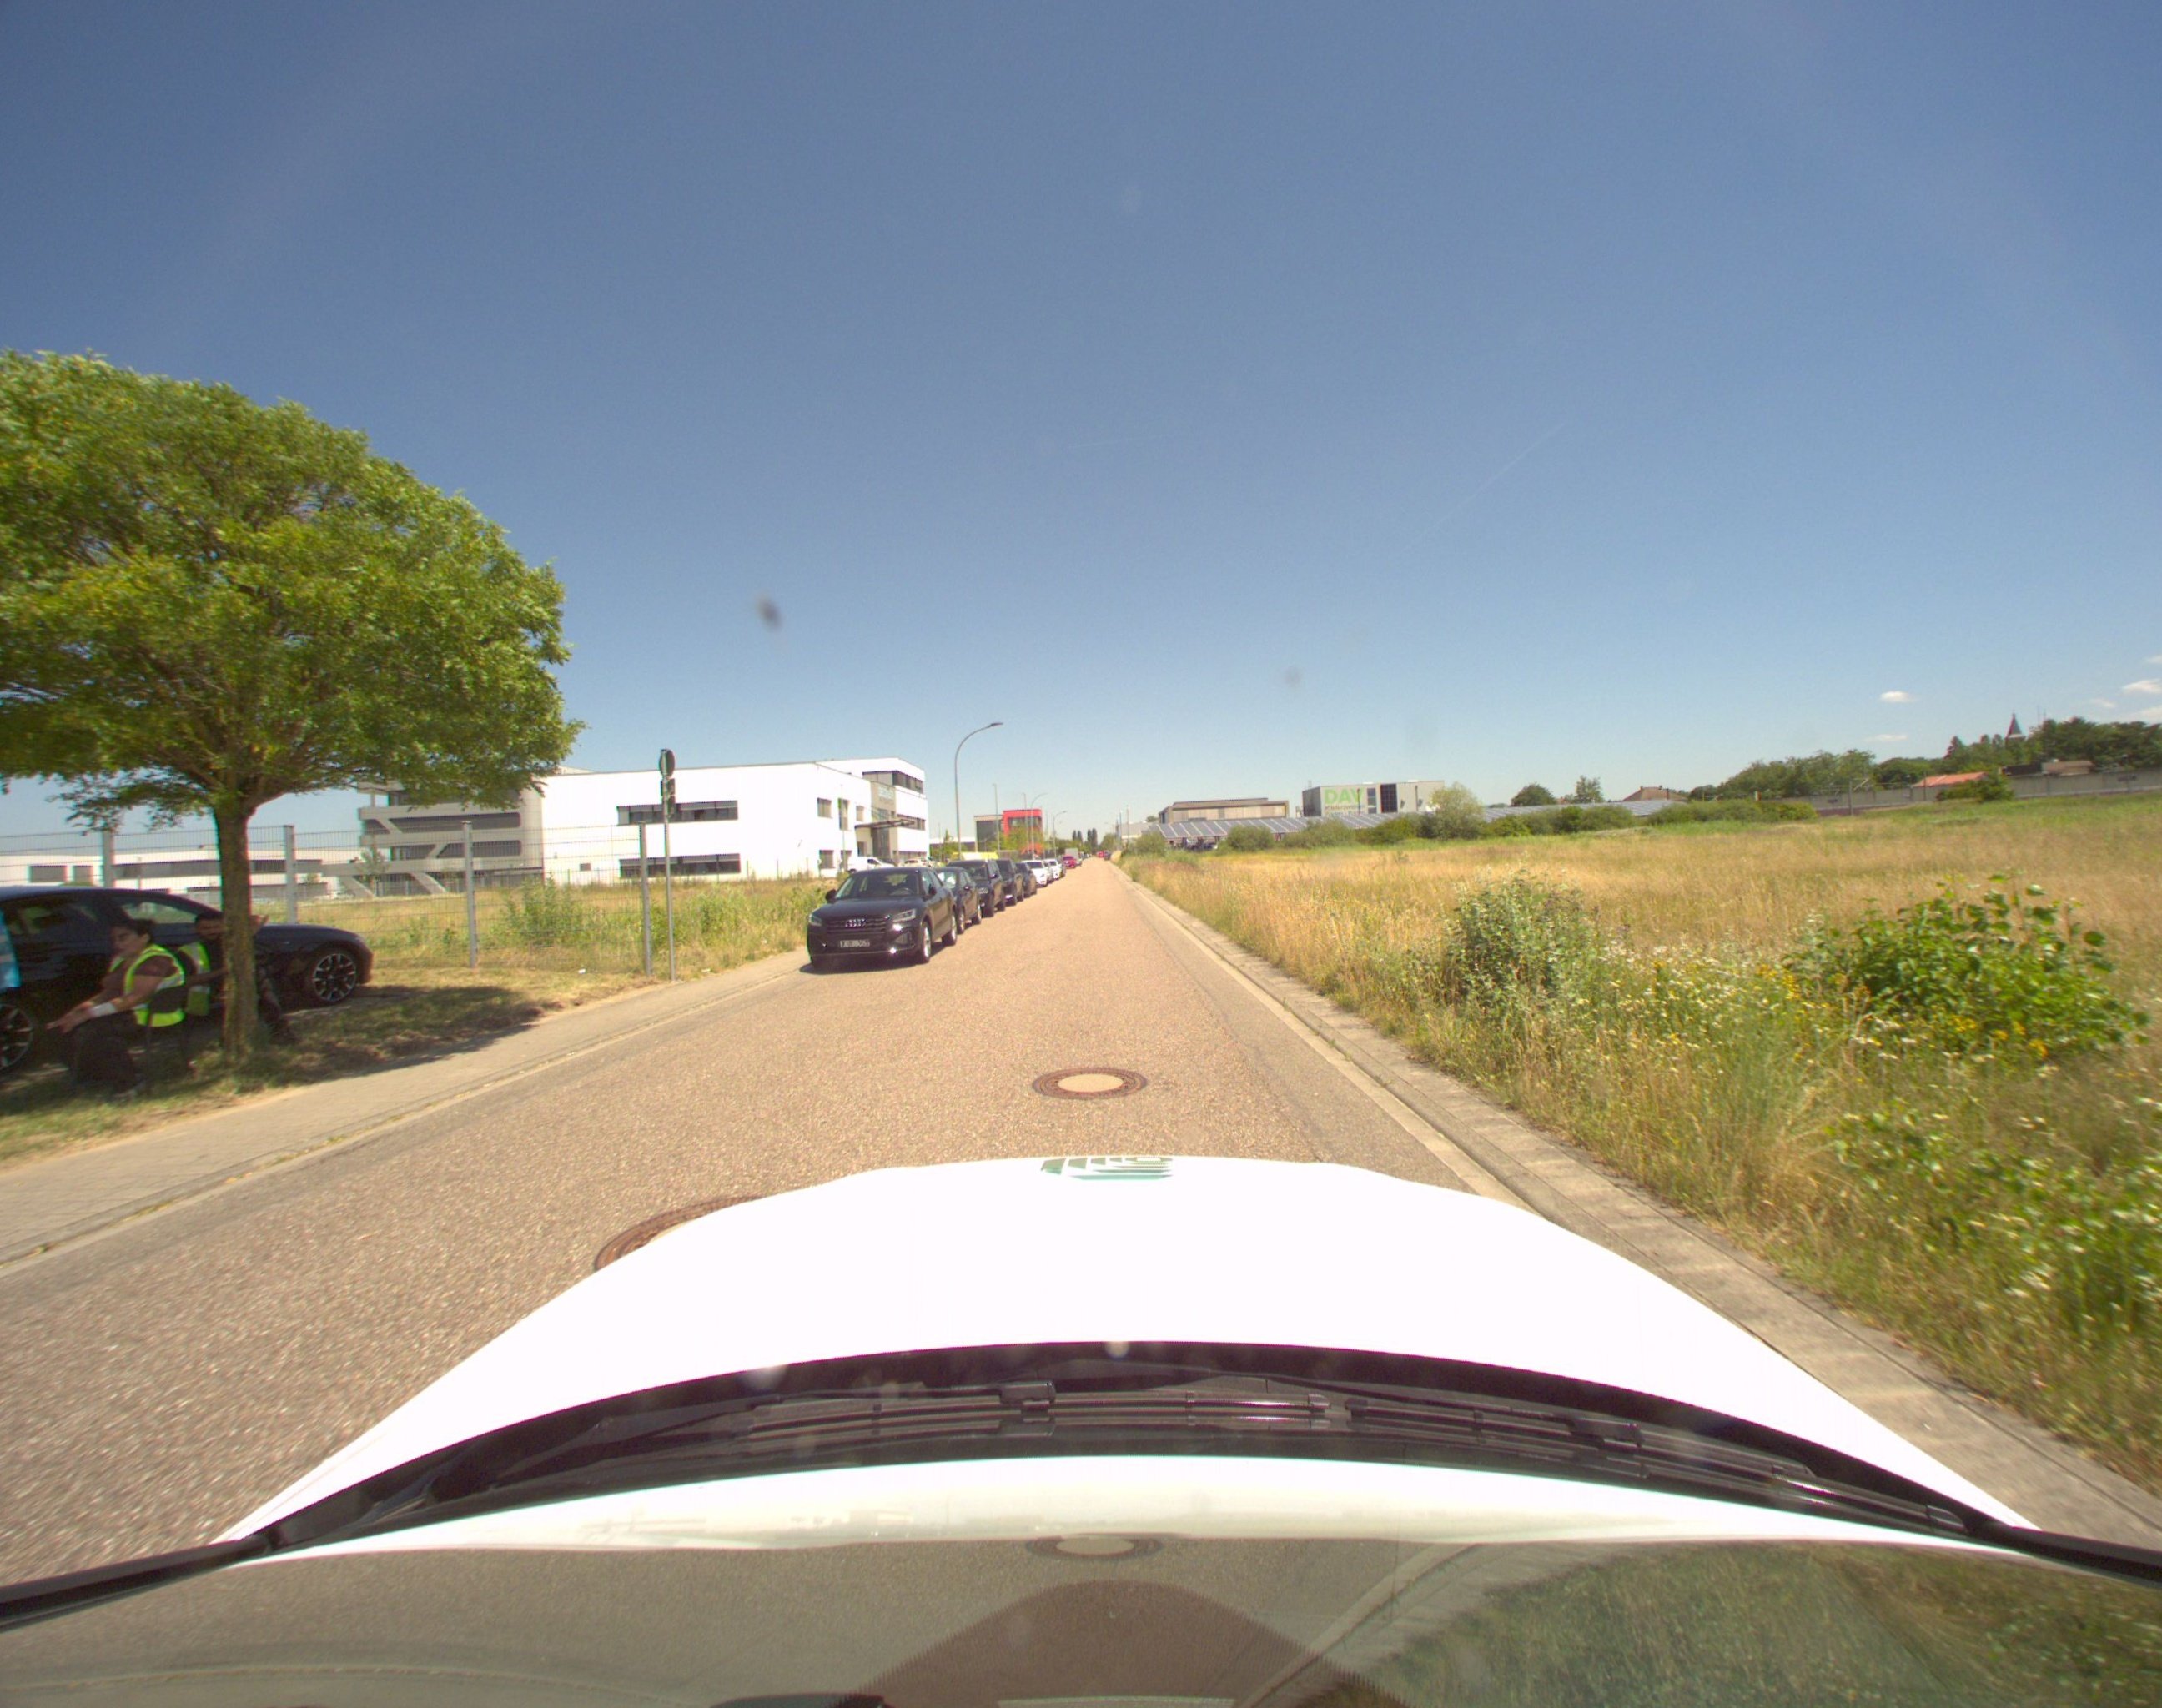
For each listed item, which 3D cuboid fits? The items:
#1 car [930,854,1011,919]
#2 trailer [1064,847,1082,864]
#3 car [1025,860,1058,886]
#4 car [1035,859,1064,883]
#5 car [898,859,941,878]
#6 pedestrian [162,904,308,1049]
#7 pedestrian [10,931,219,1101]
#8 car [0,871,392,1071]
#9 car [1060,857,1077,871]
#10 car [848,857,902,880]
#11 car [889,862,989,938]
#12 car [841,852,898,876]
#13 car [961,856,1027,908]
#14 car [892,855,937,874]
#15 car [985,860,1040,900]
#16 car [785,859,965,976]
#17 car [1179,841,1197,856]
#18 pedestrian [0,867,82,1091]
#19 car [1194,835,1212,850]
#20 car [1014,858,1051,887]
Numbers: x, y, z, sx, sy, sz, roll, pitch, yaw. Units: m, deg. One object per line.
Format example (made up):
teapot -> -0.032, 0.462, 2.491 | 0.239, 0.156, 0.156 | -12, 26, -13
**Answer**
car -> -3.215, 0.893, 24.431 | 1.671, 1.663, 4.237 | -3, 0, 1
trailer -> -1.043, 0.192, 107.728 | 2.193, 2.137, 4.286 | -3, 0, 1
car -> -2.538, 1.218, 53.351 | 1.780, 1.520, 3.983 | -3, 0, 1
car -> -2.219, 1.197, 58.963 | 1.780, 1.520, 3.983 | -3, 0, 1
car -> -18.771, 1.696, 94.651 | 4.512, 1.943, 2.032 | -3, 0, 1
pedestrian -> -7.640, 1.076, 7.387 | 0.503, 1.191, 0.753 | 0, 0, 3
pedestrian -> -7.022, 1.147, 5.950 | 0.747, 1.099, 0.647 | 0, 0, 5
car -> -9.276, 0.941, 7.465 | 1.920, 1.464, 4.691 | 0, 0, 0
car -> -1.412, 1.138, 96.030 | 1.780, 1.520, 3.983 | -3, 0, 1
car -> -19.539, 1.371, 77.428 | 4.512, 1.943, 2.032 | -3, 0, 1
car -> -3.272, 1.012, 19.445 | 1.585, 1.492, 3.833 | -3, 0, 1
car -> -19.265, 0.893, 74.346 | 4.512, 1.943, 2.032 | -3, 0, 1
car -> -3.094, 0.950, 29.806 | 1.762, 1.663, 4.553 | -3, 0, 1
car -> -18.814, 1.201, 92.066 | 4.512, 1.943, 2.032 | -3, 0, 1
car -> -2.908, 1.071, 35.534 | 1.762, 1.486, 5.015 | -3, 0, 1
car -> -3.286, 0.930, 13.894 | 1.921, 1.567, 4.189 | -3, 0, 0
car -> 15.033, -0.752, 115.101 | 1.987, 2.013, 4.000 | -3, 0, 1
pedestrian -> -8.001, 0.901, 5.920 | 0.503, 1.595, 0.753 | 0, -1, 3
car -> 17.242, -1.598, 115.106 | 1.987, 2.013, 4.000 | -3, 0, 1
car -> -2.788, 1.040, 47.430 | 1.780, 1.520, 3.983 | -3, 0, 1
